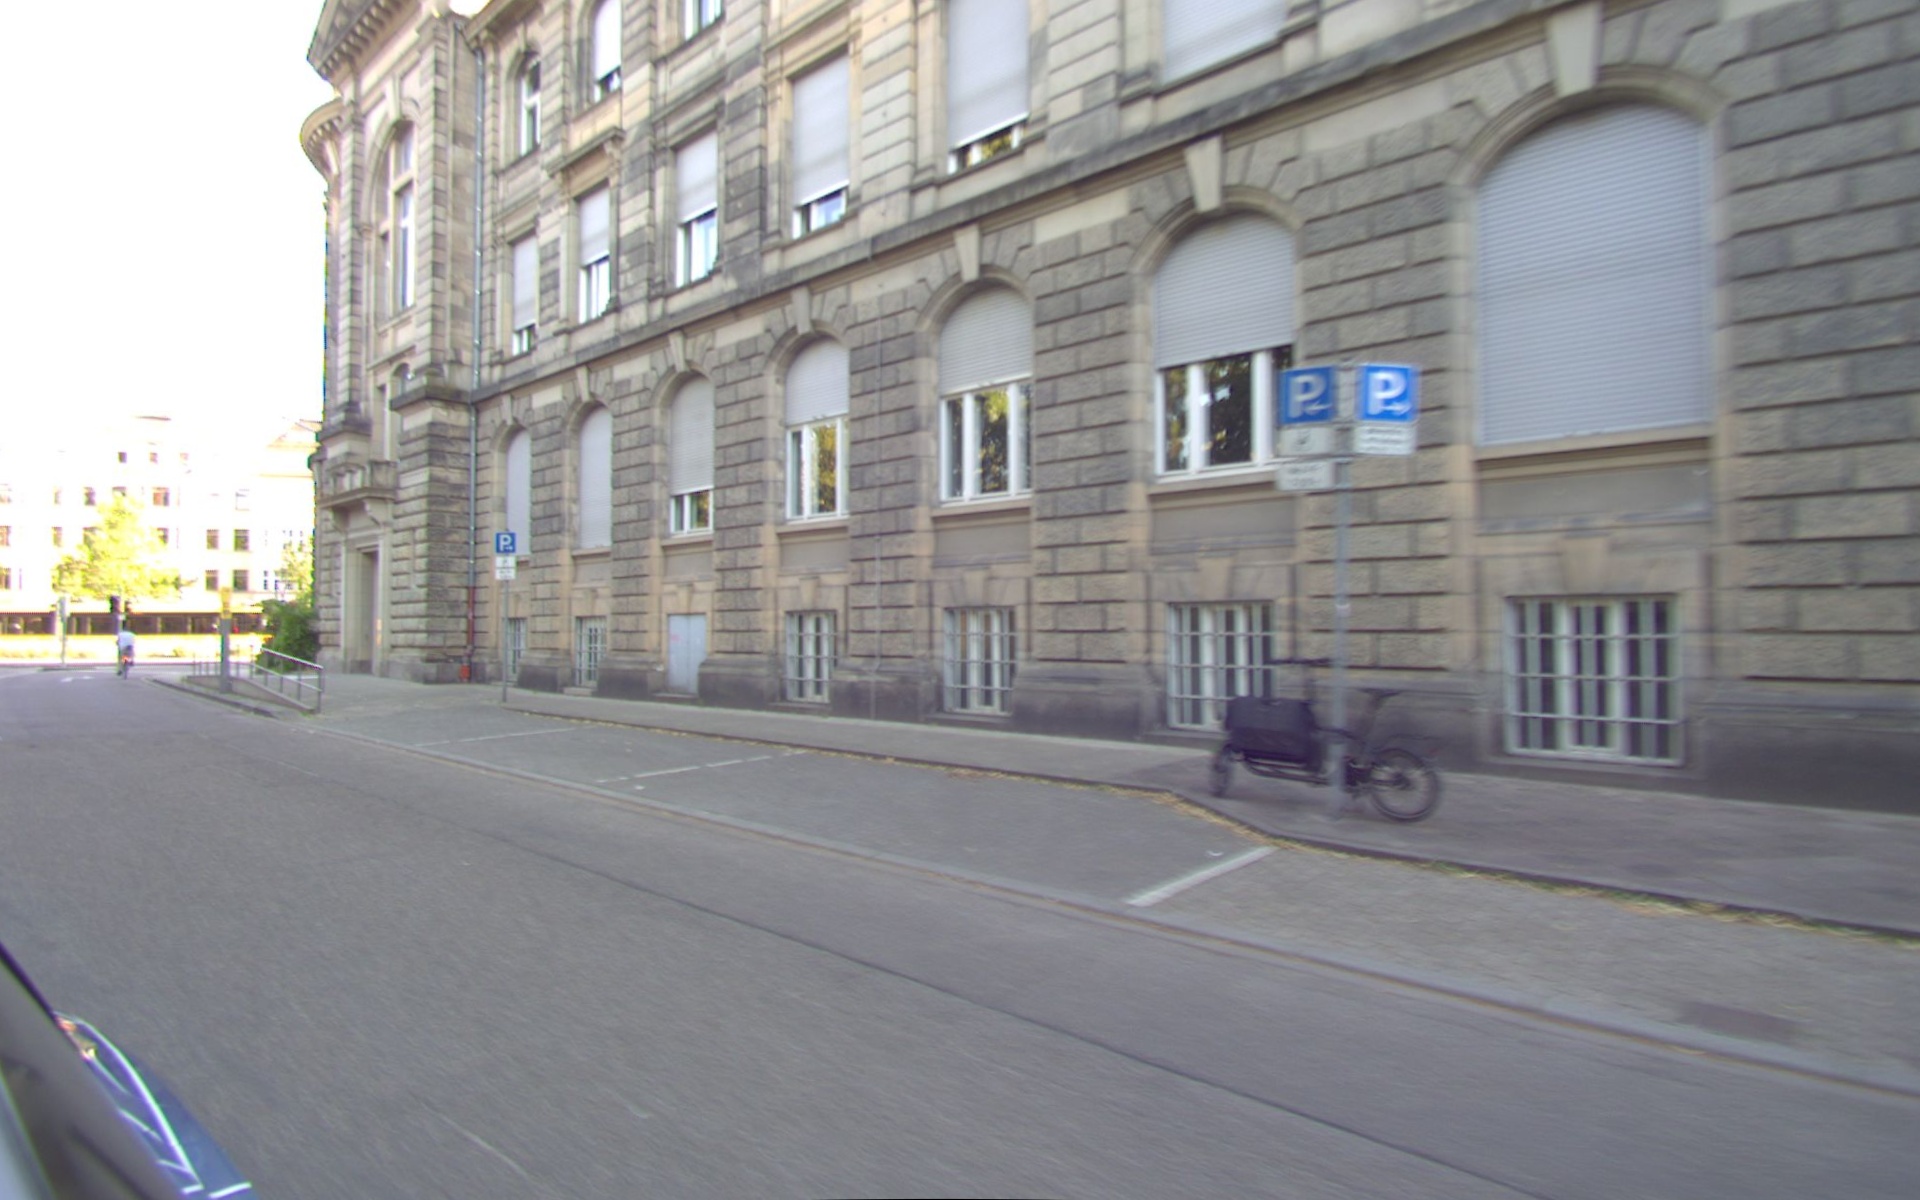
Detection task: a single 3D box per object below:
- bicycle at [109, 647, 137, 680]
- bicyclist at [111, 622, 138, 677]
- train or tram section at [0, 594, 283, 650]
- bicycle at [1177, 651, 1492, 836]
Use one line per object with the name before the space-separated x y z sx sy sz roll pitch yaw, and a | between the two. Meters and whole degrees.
bicycle | -28.206 2.129 34.135 0.654 1.078 2.157 2 -3 -38
bicyclist | -28.206 1.665 34.158 0.637 1.821 0.782 2 -3 -38
train or tram section | -56.766 1.489 67.526 19.606 3.586 3.129 0 -2 -11
bicycle | 2.690 0.965 7.444 0.842 1.110 1.983 -1 -1 -44
